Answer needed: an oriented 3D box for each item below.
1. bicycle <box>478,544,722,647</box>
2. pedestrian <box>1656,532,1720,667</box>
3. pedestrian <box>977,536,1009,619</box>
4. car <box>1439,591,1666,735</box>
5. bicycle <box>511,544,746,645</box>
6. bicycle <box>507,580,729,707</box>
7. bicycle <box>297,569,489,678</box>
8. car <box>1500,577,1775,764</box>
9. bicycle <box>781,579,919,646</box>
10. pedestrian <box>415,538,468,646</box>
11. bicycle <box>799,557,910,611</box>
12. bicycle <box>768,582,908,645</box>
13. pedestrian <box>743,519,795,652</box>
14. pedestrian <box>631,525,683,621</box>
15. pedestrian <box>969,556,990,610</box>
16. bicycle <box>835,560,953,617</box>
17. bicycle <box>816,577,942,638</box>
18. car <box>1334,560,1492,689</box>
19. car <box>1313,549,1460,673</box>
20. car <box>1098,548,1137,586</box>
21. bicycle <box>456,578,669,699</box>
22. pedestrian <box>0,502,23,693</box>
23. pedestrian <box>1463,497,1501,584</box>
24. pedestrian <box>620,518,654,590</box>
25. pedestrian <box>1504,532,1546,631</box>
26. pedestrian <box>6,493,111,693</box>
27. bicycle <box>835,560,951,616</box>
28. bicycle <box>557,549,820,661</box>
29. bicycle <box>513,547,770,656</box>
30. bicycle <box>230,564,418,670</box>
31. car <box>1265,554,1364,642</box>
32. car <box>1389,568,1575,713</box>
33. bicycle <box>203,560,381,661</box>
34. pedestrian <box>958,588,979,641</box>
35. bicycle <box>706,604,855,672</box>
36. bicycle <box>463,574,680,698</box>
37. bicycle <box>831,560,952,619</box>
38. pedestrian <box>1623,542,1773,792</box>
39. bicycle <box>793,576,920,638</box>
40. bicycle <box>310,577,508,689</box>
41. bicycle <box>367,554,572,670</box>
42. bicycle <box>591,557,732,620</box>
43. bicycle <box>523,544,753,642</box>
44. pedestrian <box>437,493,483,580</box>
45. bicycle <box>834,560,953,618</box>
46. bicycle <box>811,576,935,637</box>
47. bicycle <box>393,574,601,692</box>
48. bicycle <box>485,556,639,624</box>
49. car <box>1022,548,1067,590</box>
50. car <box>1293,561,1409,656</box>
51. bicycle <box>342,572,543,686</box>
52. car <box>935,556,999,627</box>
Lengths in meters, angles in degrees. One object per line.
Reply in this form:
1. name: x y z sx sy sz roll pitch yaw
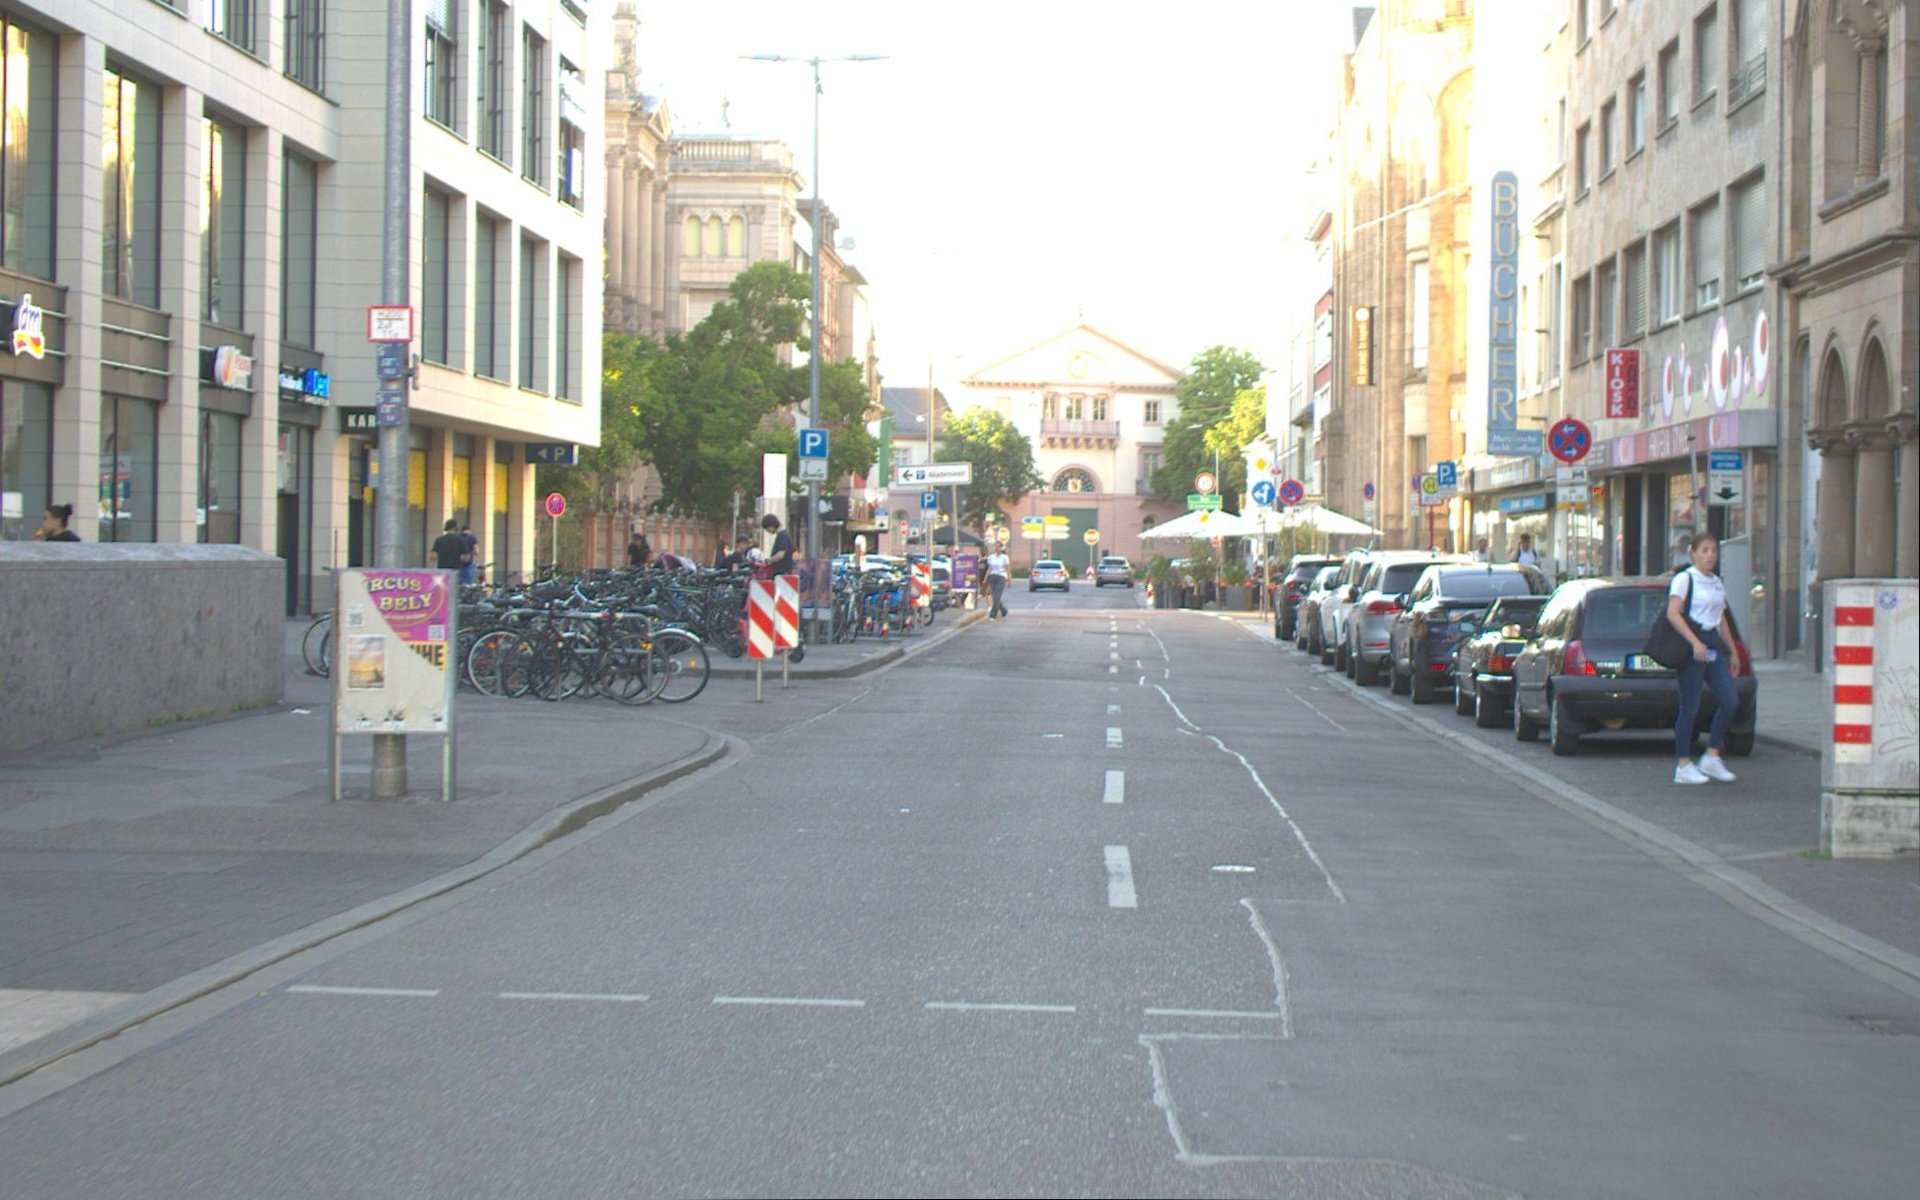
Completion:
1. bicycle: -4.476 -0.052 42.801 2.886 1.251 0.804 0 1 -23
2. pedestrian: 9.247 -0.013 43.679 0.644 1.684 0.671 1 1 1
3. pedestrian: 0.727 -0.498 75.913 0.599 1.817 0.452 1 1 10
4. car: 5.761 0.579 33.842 1.679 1.286 4.047 0 1 2
5. bicycle: -4.258 -0.067 44.265 2.886 1.251 0.804 0 1 -23
6. bicycle: -3.218 0.413 32.391 1.967 1.118 0.558 2 1 -26
7. bicycle: -6.234 0.259 37.805 1.967 1.118 0.558 2 1 -26
8. car: 5.536 0.533 28.488 1.679 1.419 3.673 0 1 2
9. bicycle: -1.776 0.199 55.693 2.148 1.026 0.640 1 1 5
10. pedestrian: -7.902 -0.126 52.420 0.680 1.615 0.573 1 1 2
11. bicycle: -2.105 -0.327 68.855 2.148 1.026 0.640 1 1 5
12. bicycle: -1.942 0.207 54.789 2.148 0.950 0.640 1 1 5
13. pedestrian: -2.656 -0.204 47.762 0.656 1.817 0.528 1 1 -8
14. pedestrian: -4.887 -0.442 55.522 0.751 1.524 0.485 1 1 2
15. pedestrian: 0.547 -0.467 95.579 0.549 1.481 0.565 1 1 1
16. bicycle: -1.244 -0.220 64.801 2.148 1.026 0.640 1 1 5
17. bicycle: -1.419 0.130 60.672 2.148 1.026 0.640 1 1 5
18. car: 5.888 0.284 45.015 1.679 1.608 4.028 0 1 2
19. car: 6.287 0.120 51.105 1.799 1.762 4.398 0 1 2
20. car: 8.364 -1.751 182.649 1.994 1.897 4.000 3 1 2
21. bicycle: -3.915 0.379 33.868 1.967 1.118 0.558 2 1 -26
22. pedestrian: -8.496 -0.037 29.671 0.600 1.641 0.546 2 1 0
23. pedestrian: 10.490 -1.196 69.095 0.644 1.740 0.671 1 1 1
24. pedestrian: -7.340 -1.049 78.119 0.680 1.615 0.573 1 1 2
25. pedestrian: 10.331 -0.348 62.859 0.644 1.794 0.671 1 1 1
26. pedestrian: -7.745 -0.067 29.562 0.681 1.675 0.600 2 1 0
27. bicycle: -1.269 -0.233 65.529 2.148 1.026 0.640 1 1 5
28. bicycle: -3.105 0.064 39.457 2.886 1.251 0.804 0 1 -23
29. bicycle: -3.752 0.017 40.574 2.886 1.251 0.804 0 1 -23
30. bicycle: -7.192 0.198 38.901 1.967 1.118 0.558 2 1 -26
31. car: 6.896 -0.056 67.128 1.679 1.660 3.673 0 1 2
32. car: 5.872 0.418 39.022 1.679 1.542 3.673 0 1 2
33. bicycle: -7.952 0.131 40.936 1.967 1.118 0.558 2 1 -26
34. pedestrian: 0.234 0.408 96.777 0.549 1.481 0.565 1 1 1
35. bicycle: -2.683 0.561 51.407 2.148 0.950 0.640 1 1 5
36. bicycle: -3.744 0.351 33.195 1.967 1.118 0.558 2 1 -26
37. bicycle: -1.253 -0.190 62.994 2.148 1.026 0.640 1 1 5
38. pedestrian: 5.174 0.459 24.132 0.834 1.715 0.682 1 1 -5
39. bicycle: -1.797 0.126 59.899 2.148 1.026 0.640 1 1 5
40. bicycle: -5.869 0.352 36.672 1.967 1.118 0.558 2 1 -26
41. bicycle: -5.051 0.127 35.448 1.967 1.118 0.558 2 1 -26
42. bicycle: -4.764 -0.185 54.905 2.148 0.950 0.640 1 1 5
43. bicycle: -4.229 -0.083 45.239 2.886 1.251 0.804 0 1 -23
44. pedestrian: -9.447 -1.199 64.925 0.731 1.615 0.661 1 1 2
45. bicycle: -1.231 -0.202 63.764 2.148 1.026 0.640 1 1 5
46. bicycle: -1.554 0.111 61.409 2.148 1.026 0.640 1 1 5
47. bicycle: -4.682 0.342 34.789 1.967 1.118 0.558 2 1 -26
48. bicycle: -5.824 -0.155 50.404 2.148 0.950 0.640 1 1 5
49. car: 4.049 -1.475 163.727 1.994 1.897 4.000 3 1 2
50. car: 6.564 0.118 57.986 1.679 1.542 3.673 0 1 2
51. bicycle: -5.432 0.310 36.111 1.967 1.118 0.558 2 1 -26
52. car: 0.225 -0.263 102.075 1.711 2.007 4.000 1 1 2
